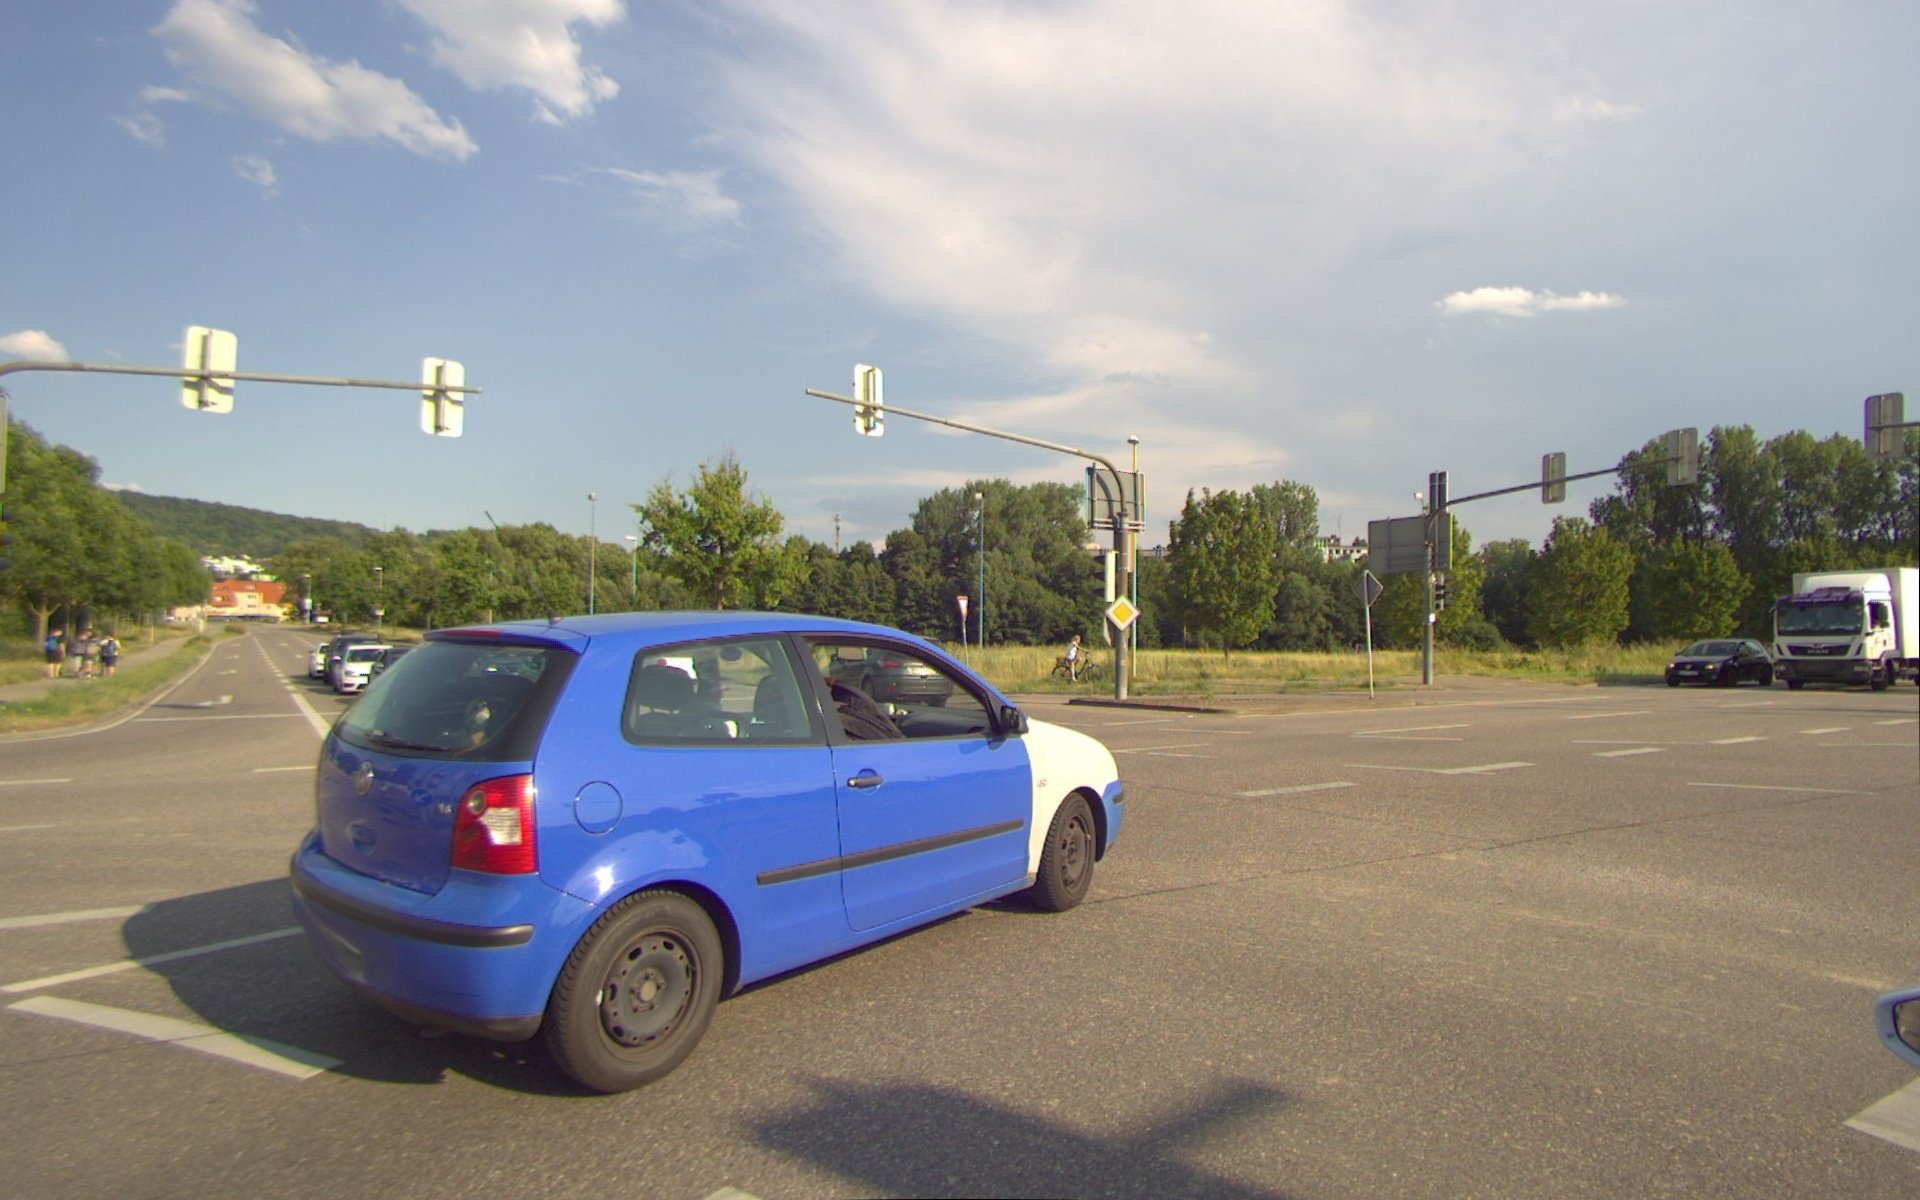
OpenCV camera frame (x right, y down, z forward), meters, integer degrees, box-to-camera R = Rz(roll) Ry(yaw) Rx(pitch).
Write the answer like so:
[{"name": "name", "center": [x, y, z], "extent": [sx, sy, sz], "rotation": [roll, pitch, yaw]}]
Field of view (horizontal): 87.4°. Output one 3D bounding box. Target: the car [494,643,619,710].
[{"name": "car", "center": [-10.733, 1.966, 26.600], "extent": [1.756, 1.439, 3.828], "rotation": [2, 0, -44]}]

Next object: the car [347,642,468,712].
[{"name": "car", "center": [-13.535, 1.811, 24.527], "extent": [1.625, 1.378, 3.828], "rotation": [2, 0, -44]}]

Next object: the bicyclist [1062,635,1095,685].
[{"name": "bicyclist", "center": [3.789, 1.918, 32.123], "extent": [0.902, 1.521, 0.725], "rotation": [2, 0, 13]}]

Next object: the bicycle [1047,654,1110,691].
[{"name": "bicycle", "center": [3.789, 2.319, 32.126], "extent": [1.896, 1.053, 0.709], "rotation": [2, 0, 13]}]

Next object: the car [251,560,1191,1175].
[{"name": "car", "center": [-0.633, 0.724, 4.523], "extent": [1.667, 1.519, 3.874], "rotation": [0, -2, 40]}]

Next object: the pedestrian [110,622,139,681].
[{"name": "pedestrian", "center": [-29.334, 1.795, 35.271], "extent": [0.717, 2.040, 0.688], "rotation": [2, 0, -37]}]

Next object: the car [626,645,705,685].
[{"name": "car", "center": [-11.138, 2.407, 37.830], "extent": [1.750, 1.386, 3.713], "rotation": [2, -2, -35]}]

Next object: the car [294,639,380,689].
[{"name": "car", "center": [-21.444, 2.154, 34.518], "extent": [1.756, 1.439, 3.830], "rotation": [2, 0, -43]}]

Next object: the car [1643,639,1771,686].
[{"name": "car", "center": [23.462, 1.952, 31.513], "extent": [3.953, 1.394, 1.806], "rotation": [2, -4, -30]}]

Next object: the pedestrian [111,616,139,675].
[{"name": "pedestrian", "center": [-29.515, 1.596, 35.511], "extent": [0.718, 2.040, 0.687], "rotation": [2, 0, -41]}]

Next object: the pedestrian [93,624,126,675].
[{"name": "pedestrian", "center": [-30.775, 1.790, 36.343], "extent": [0.684, 1.781, 0.721], "rotation": [2, 0, 36]}]

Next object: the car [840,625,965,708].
[{"name": "car", "center": [-1.432, 1.517, 23.286], "extent": [1.895, 1.712, 4.142], "rotation": [2, -3, -18]}]

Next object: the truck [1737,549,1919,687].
[{"name": "truck", "center": [28.274, 0.733, 31.111], "extent": [10.376, 3.738, 2.920], "rotation": [2, -4, -30]}]

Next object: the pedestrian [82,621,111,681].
[{"name": "pedestrian", "center": [-30.069, 1.781, 34.984], "extent": [0.718, 2.040, 0.687], "rotation": [2, 0, -41]}]

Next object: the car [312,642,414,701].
[{"name": "car", "center": [-17.846, 2.070, 29.965], "extent": [1.756, 1.439, 3.828], "rotation": [2, 0, -44]}]

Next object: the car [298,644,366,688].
[{"name": "car", "center": [-24.913, 2.585, 39.794], "extent": [1.754, 1.439, 3.834], "rotation": [2, 0, -40]}]

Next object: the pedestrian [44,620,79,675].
[{"name": "pedestrian", "center": [-31.252, 1.663, 34.934], "extent": [0.772, 1.877, 0.426], "rotation": [2, 0, -23]}]

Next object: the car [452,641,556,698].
[{"name": "car", "center": [-14.238, 2.113, 31.263], "extent": [1.756, 1.439, 3.828], "rotation": [2, 0, -44]}]
